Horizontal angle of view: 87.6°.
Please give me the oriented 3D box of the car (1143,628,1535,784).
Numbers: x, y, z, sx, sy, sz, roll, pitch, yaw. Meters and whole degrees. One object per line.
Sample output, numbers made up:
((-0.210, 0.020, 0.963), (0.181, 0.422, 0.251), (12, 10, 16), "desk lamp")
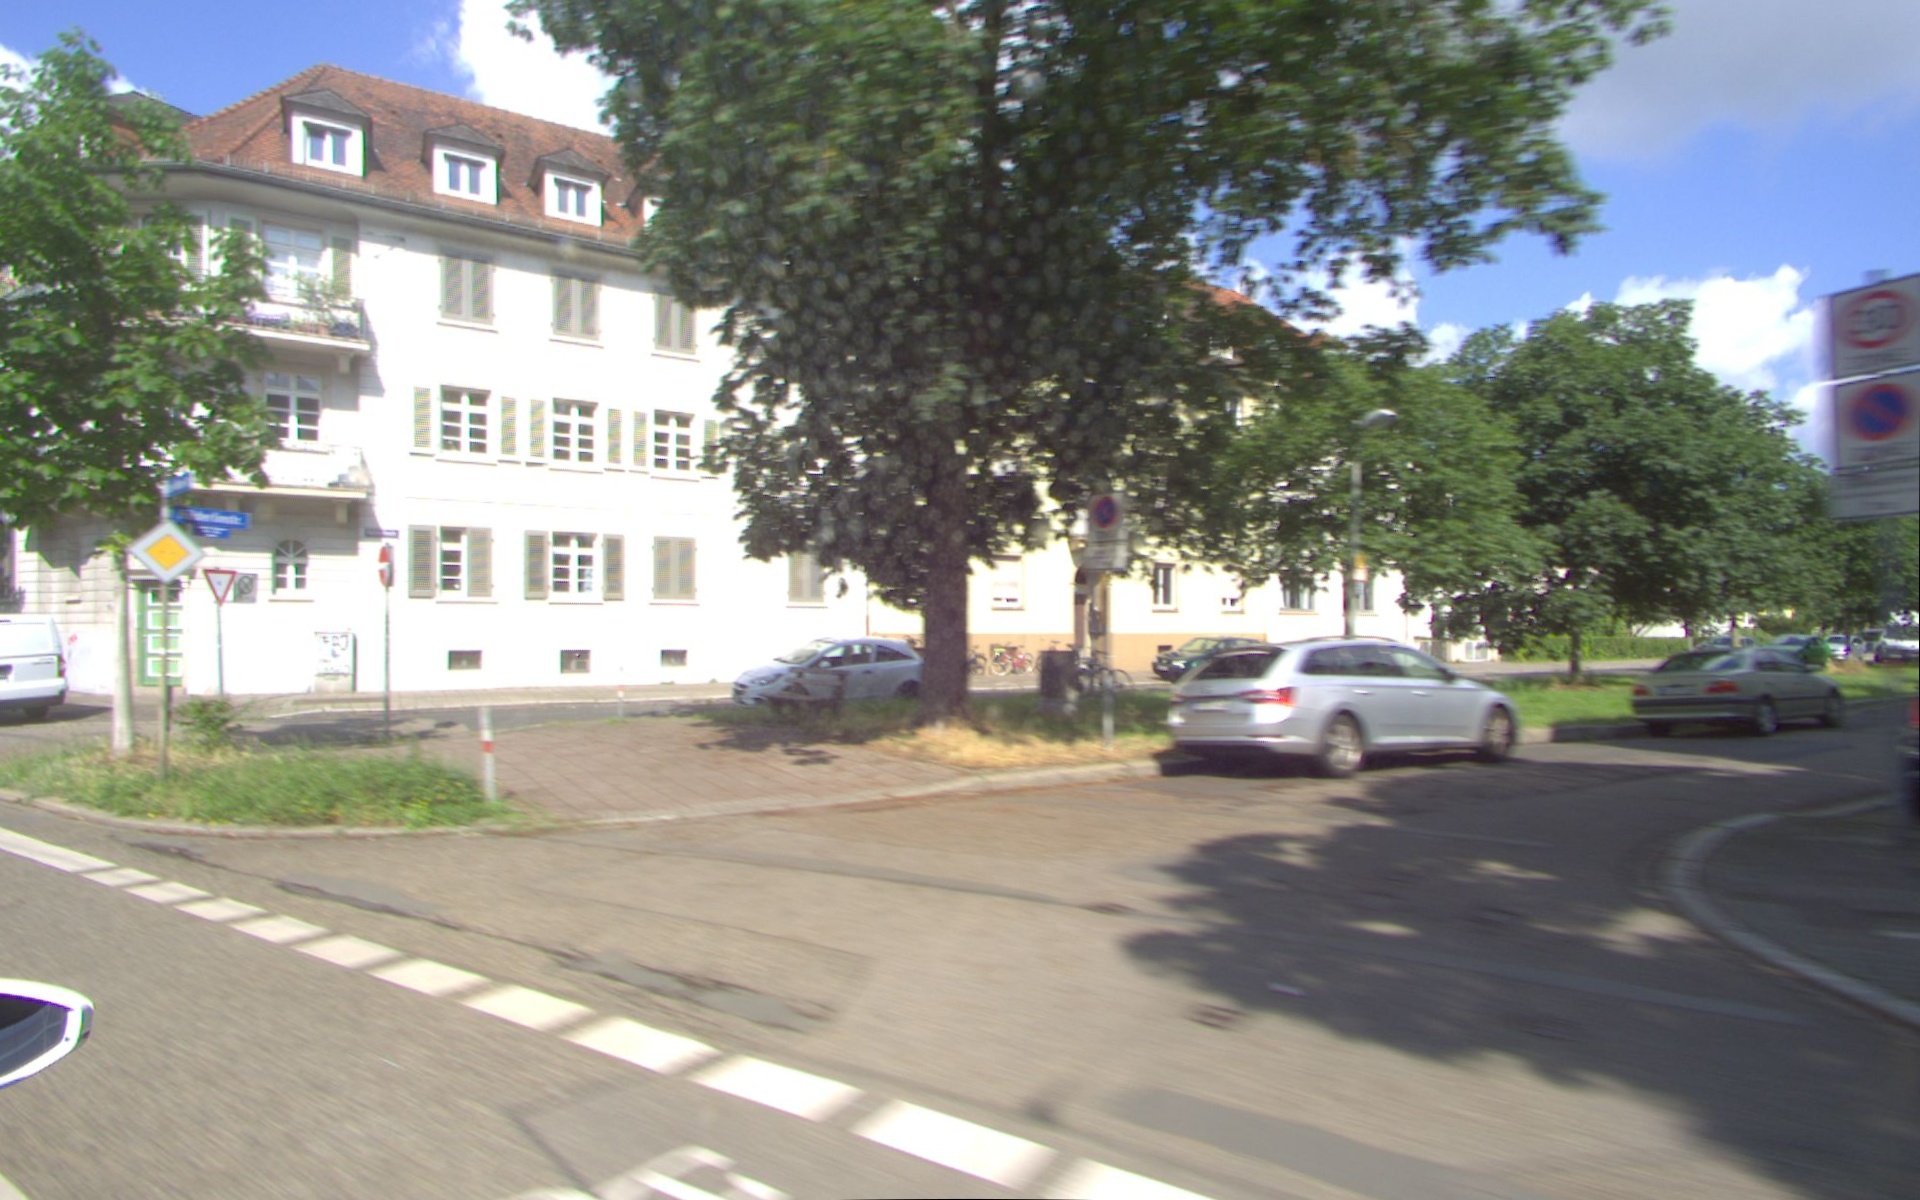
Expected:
((4.453, 1.095, 11.588), (4.511, 1.494, 1.859), (1, -3, -31), "car")

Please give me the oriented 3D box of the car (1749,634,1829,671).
((37.084, 2.316, 44.773), (3.820, 1.577, 1.701), (1, -2, -33), "car")

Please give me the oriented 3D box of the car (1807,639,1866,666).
((52.332, 3.117, 59.793), (3.820, 1.577, 1.701), (1, -2, -34), "car")

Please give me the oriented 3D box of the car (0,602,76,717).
((-18.512, 1.043, 18.315), (4.911, 1.963, 1.787), (0, -1, 26), "car")

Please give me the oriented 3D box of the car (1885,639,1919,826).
((9.139, 1.020, 8.108), (3.519, 1.424, 1.698), (1, -3, -35), "car")

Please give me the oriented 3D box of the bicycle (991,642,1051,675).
((1.977, 1.883, 32.424), (2.108, 1.047, 0.533), (1, -1, -37), "bicycle")

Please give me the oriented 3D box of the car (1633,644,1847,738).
((13.036, 1.444, 16.695), (3.769, 1.397, 1.579), (1, -3, -31), "car")

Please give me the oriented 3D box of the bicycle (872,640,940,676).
((-1.620, 1.723, 30.099), (2.108, 1.047, 0.533), (1, -1, -37), "bicycle")

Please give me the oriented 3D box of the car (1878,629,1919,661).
((49.110, 2.296, 51.660), (3.820, 1.577, 1.701), (1, -2, -33), "car")

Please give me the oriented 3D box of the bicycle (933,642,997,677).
((0.180, 1.845, 31.167), (2.108, 1.047, 0.533), (1, -1, -37), "bicycle")

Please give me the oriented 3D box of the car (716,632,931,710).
((-2.691, 1.360, 19.992), (3.943, 1.428, 1.644), (1, -3, -30), "car")

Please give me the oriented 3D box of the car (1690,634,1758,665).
((40.178, 2.584, 52.648), (3.820, 1.577, 1.701), (1, -2, -34), "car")

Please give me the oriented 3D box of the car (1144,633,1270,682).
((7.966, 1.805, 32.247), (3.814, 1.373, 1.688), (1, 2, -30), "car")

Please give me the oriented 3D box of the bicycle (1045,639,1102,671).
((3.822, 1.827, 33.613), (2.108, 1.047, 0.533), (1, -1, -37), "bicycle")
